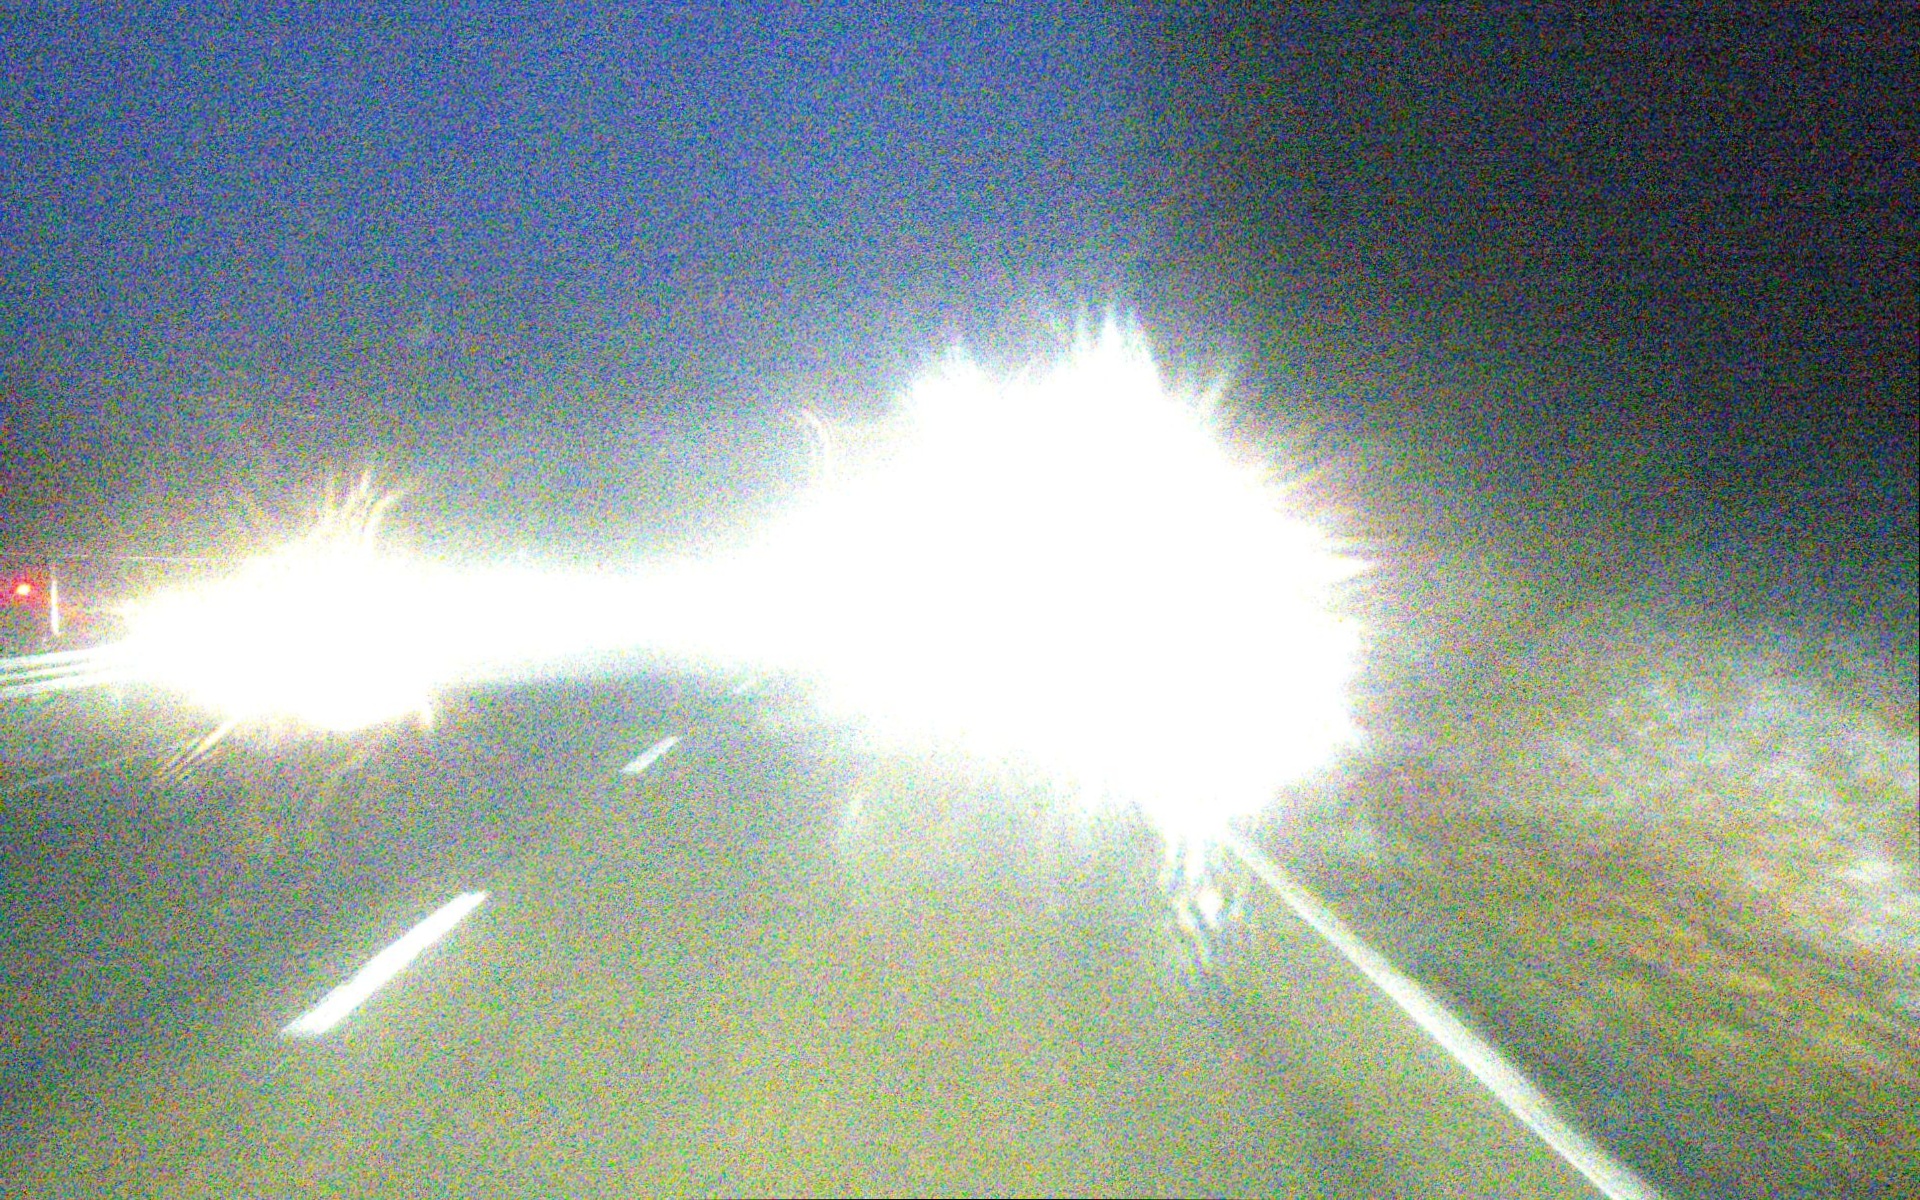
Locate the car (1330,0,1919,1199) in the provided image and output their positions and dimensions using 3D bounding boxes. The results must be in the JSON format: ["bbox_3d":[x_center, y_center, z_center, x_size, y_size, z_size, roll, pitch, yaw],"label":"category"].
[{"bbox_3d":[1.819,0.150,4.204,2.197,2.007,4.207,1,-2,-1],"label":"car"}]

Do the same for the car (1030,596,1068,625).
[{"bbox_3d":[4.361,0.493,167.986,1.740,1.397,3.860,0,0,3],"label":"car"}]
